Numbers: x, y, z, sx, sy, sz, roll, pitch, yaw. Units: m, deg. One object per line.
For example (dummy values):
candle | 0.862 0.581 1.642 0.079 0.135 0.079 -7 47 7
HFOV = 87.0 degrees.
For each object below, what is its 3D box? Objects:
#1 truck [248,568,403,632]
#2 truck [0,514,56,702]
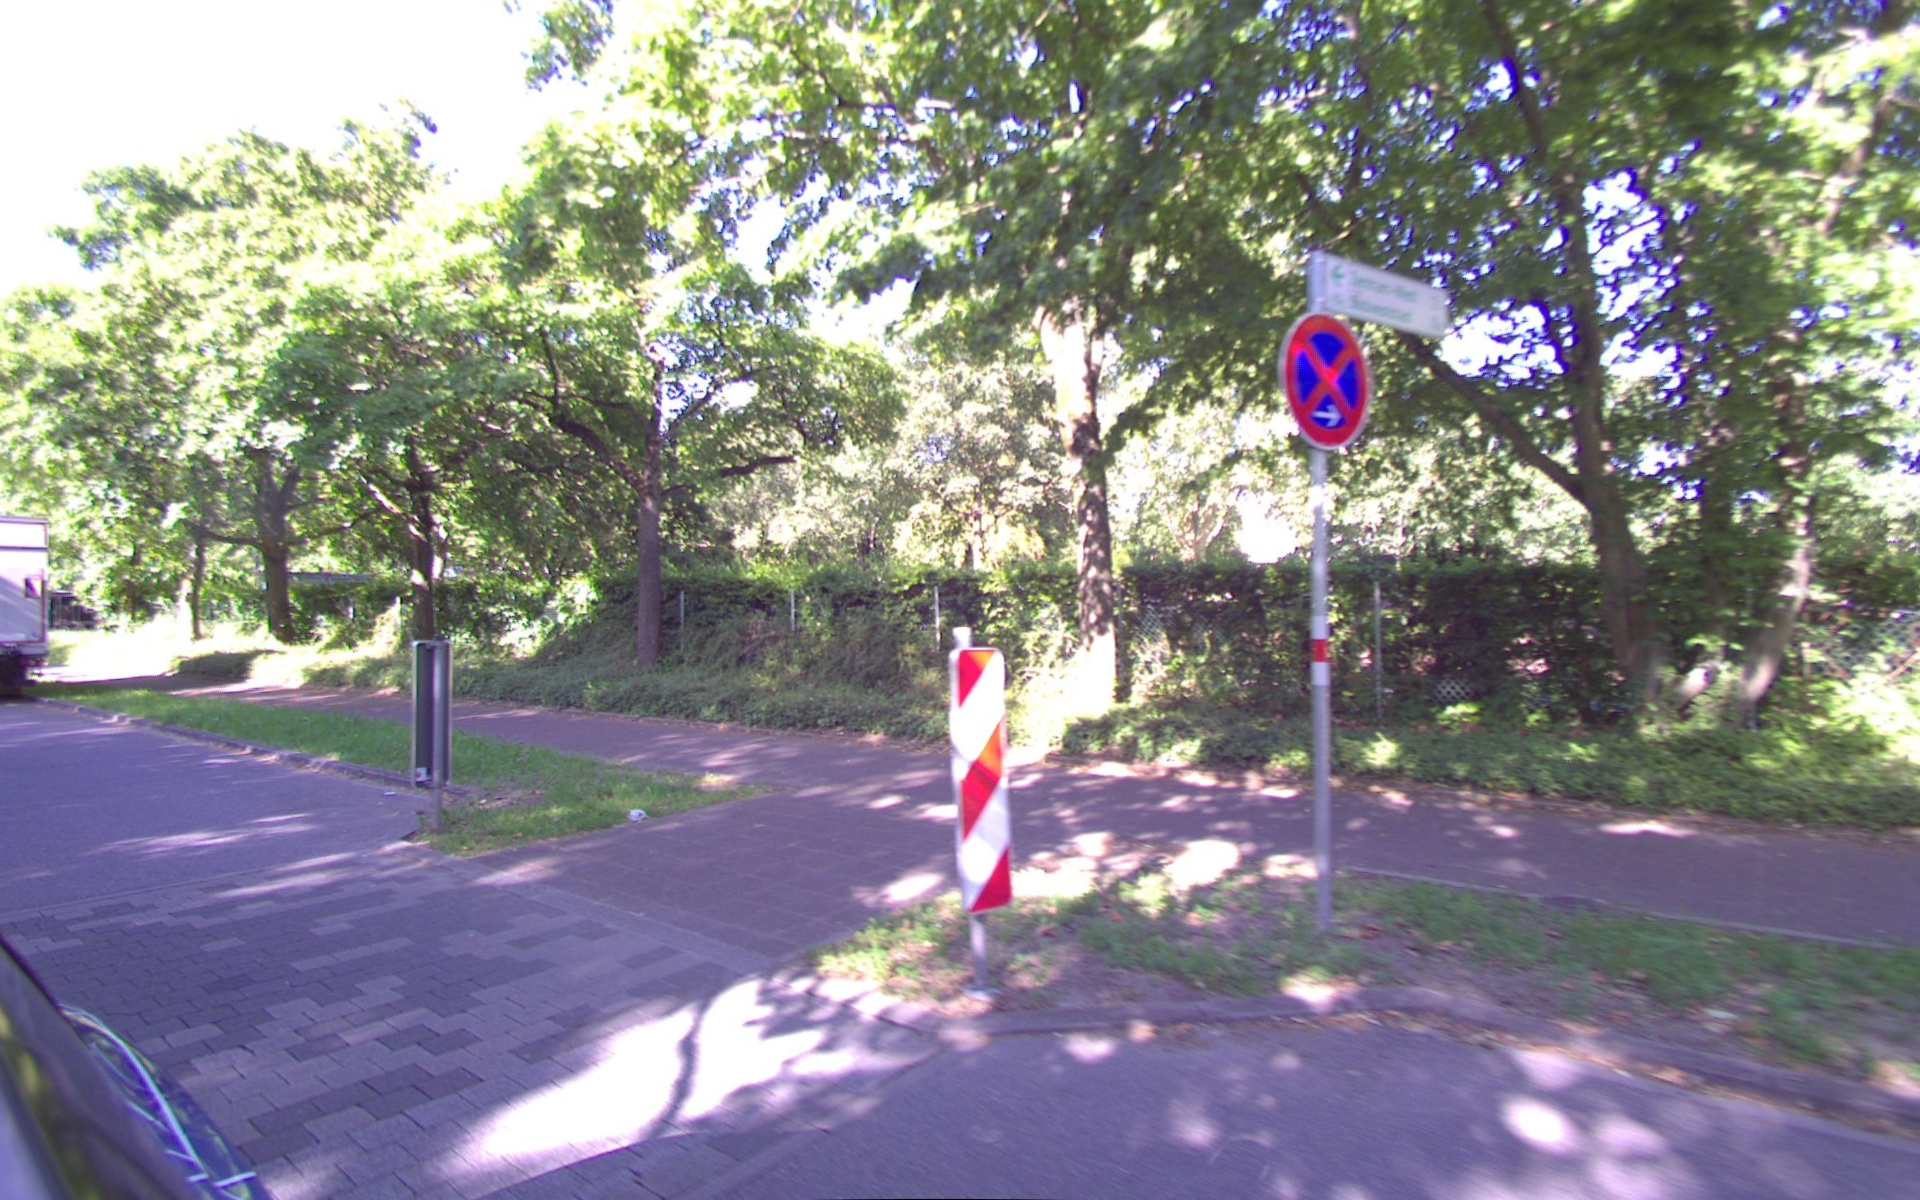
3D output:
truck | -21.561 0.066 34.508 2.200 2.029 3.950 -2 -2 36
truck | -22.200 0.243 21.845 8.091 3.669 2.708 -2 -1 39
